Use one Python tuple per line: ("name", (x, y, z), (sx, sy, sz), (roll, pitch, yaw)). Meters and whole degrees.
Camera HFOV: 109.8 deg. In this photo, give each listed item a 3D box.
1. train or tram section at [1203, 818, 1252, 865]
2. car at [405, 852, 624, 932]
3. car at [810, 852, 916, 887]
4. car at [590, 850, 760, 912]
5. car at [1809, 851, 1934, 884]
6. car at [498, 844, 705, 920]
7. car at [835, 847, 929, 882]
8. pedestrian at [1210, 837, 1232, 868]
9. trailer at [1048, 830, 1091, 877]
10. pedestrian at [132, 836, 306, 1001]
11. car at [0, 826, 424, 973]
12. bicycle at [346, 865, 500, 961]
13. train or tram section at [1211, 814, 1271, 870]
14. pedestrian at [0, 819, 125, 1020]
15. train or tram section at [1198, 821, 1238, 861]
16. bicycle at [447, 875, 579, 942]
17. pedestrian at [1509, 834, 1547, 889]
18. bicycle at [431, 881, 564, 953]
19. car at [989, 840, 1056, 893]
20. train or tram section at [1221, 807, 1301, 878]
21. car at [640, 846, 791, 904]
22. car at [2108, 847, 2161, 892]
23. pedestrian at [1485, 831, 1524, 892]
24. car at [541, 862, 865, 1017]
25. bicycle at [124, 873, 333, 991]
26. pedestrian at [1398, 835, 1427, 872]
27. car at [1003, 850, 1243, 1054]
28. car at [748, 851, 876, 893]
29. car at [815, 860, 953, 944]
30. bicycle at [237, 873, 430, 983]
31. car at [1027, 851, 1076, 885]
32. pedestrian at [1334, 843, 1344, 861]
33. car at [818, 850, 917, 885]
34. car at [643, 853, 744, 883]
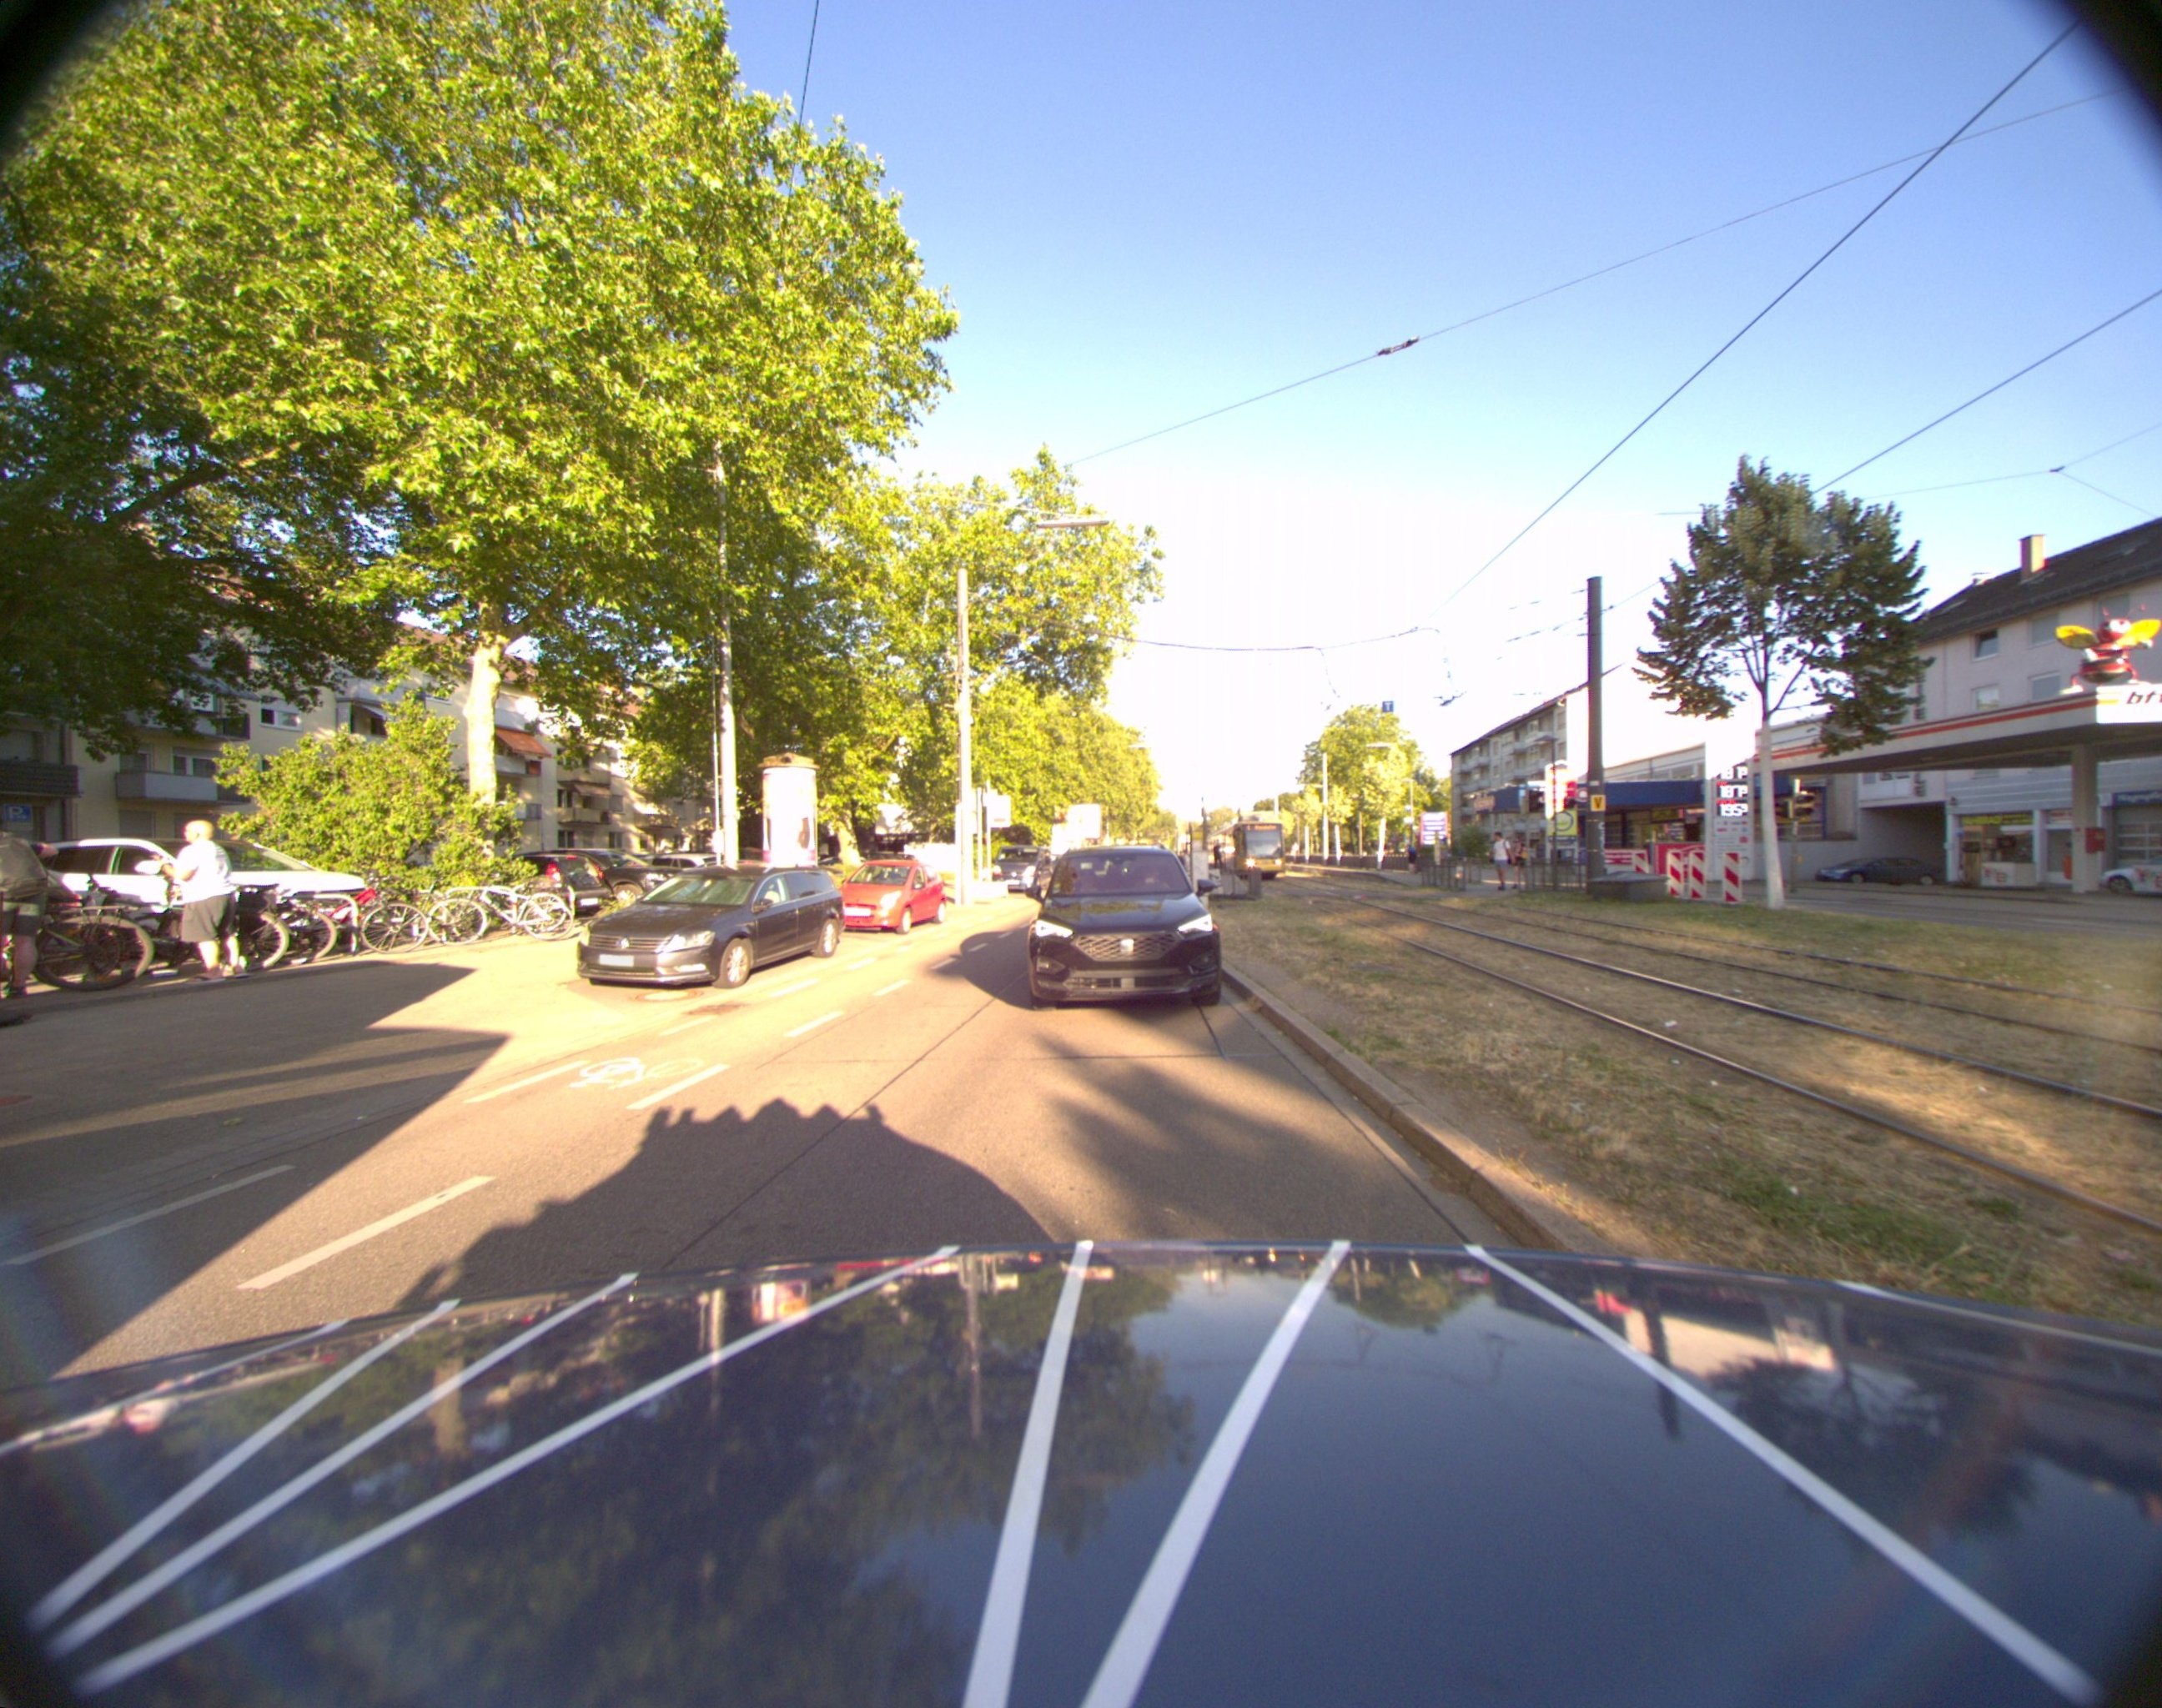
("train or tram section", (11.858, -1.032, 62.480), (3.041, 3.497, 10.100), (0, 1, 6))
("car", (-12.360, 0.790, 16.720), (3.505, 1.474, 1.774), (-4, 0, 6))
("car", (-9.587, 0.682, 33.566), (4.119, 1.486, 1.804), (0, 1, 8))
("car", (-11.539, 0.737, 21.708), (3.847, 1.486, 1.857), (-4, 0, 8))
("car", (37.915, 0.653, 36.535), (3.801, 1.514, 1.819), (-1, 1, 10))
("car", (-11.975, 0.676, 19.116), (4.030, 1.591, 1.857), (-4, 0, 6))
("car", (-9.931, 0.518, 38.090), (4.120, 1.541, 1.804), (-3, 0, 8))
("pedestrian", (7.102, -0.074, 38.627), (0.918, 1.541, 0.789), (-2, 1, -1))
("trailer", (-0.626, -0.039, 44.896), (1.889, 2.573, 4.653), (-1, 1, 7))
("pedestrian", (-9.148, 0.650, 8.110), (0.661, 1.627, 0.990), (3, 0, 0))
("car", (-12.558, 0.627, 10.928), (4.627, 1.699, 2.001), (-3, 0, 6))
("bicycle", (-9.226, 0.790, 10.721), (1.586, 1.219, 0.645), (-1, 1, -40))
("train or tram section", (10.821, -0.846, 52.414), (3.041, 3.497, 10.100), (0, 1, 6))
("pedestrian", (-9.739, 0.565, 7.020), (0.807, 1.741, 0.769), (3, 0, 7))
("train or tram section", (12.920, -1.232, 72.531), (3.041, 3.497, 10.100), (0, 1, 6))
("bicycle", (-9.376, 0.877, 12.632), (1.682, 1.008, 0.649), (-1, 1, -31))
("pedestrian", (14.450, 0.248, 24.561), (0.754, 1.737, 0.860), (-1, 1, 4))
("bicycle", (-9.128, 0.963, 11.967), (1.585, 1.008, 0.649), (-1, 1, -31))
("car", (-2.341, 0.473, 31.825), (1.888, 2.066, 4.565), (-1, 1, 7))
("train or tram section", (9.761, -0.656, 42.372), (3.041, 3.497, 10.100), (0, 1, 6))
("car", (-11.454, 0.636, 23.954), (3.847, 1.622, 1.857), (-2, 0, 8))
("car", (37.357, 0.518, 25.143), (1.815, 1.514, 3.831), (0, 0, 8))
("pedestrian", (13.468, 0.233, 24.172), (0.859, 1.921, 0.755), (-1, 1, 5))
("car", (-4.784, 0.944, 10.551), (1.700, 1.522, 4.654), (2, 1, 7))
("bicycle", (-9.715, 0.851, 8.732), (1.523, 1.219, 0.402), (-1, 1, -32))
("pedestrian", (15.297, -0.014, 35.086), (0.936, 1.644, 0.926), (-3, 1, 7))
("car", (0.426, 0.809, 8.316), (1.910, 1.606, 4.086), (-3, 0, 2))
("car", (-10.001, 0.651, 28.391), (4.119, 1.486, 1.804), (0, 1, 8))
("car", (-4.071, 0.929, 16.285), (1.572, 1.486, 3.628), (2, 1, 7))
("bicycle", (-9.431, 0.895, 9.681), (1.585, 1.220, 0.650), (-3, 1, -31))
("car", (-1.402, 0.657, 38.060), (1.799, 1.621, 4.002), (0, 0, 7))
("pedestrian", (27.449, -0.181, 80.769), (0.754, 1.871, 1.001), (-3, 1, 6))
("car", (-10.070, 0.630, 35.961), (4.119, 1.590, 1.804), (0, 1, 8))
("car", (-20.327, 0.719, 40.008), (4.291, 1.487, 2.000), (-1, 1, 3))
